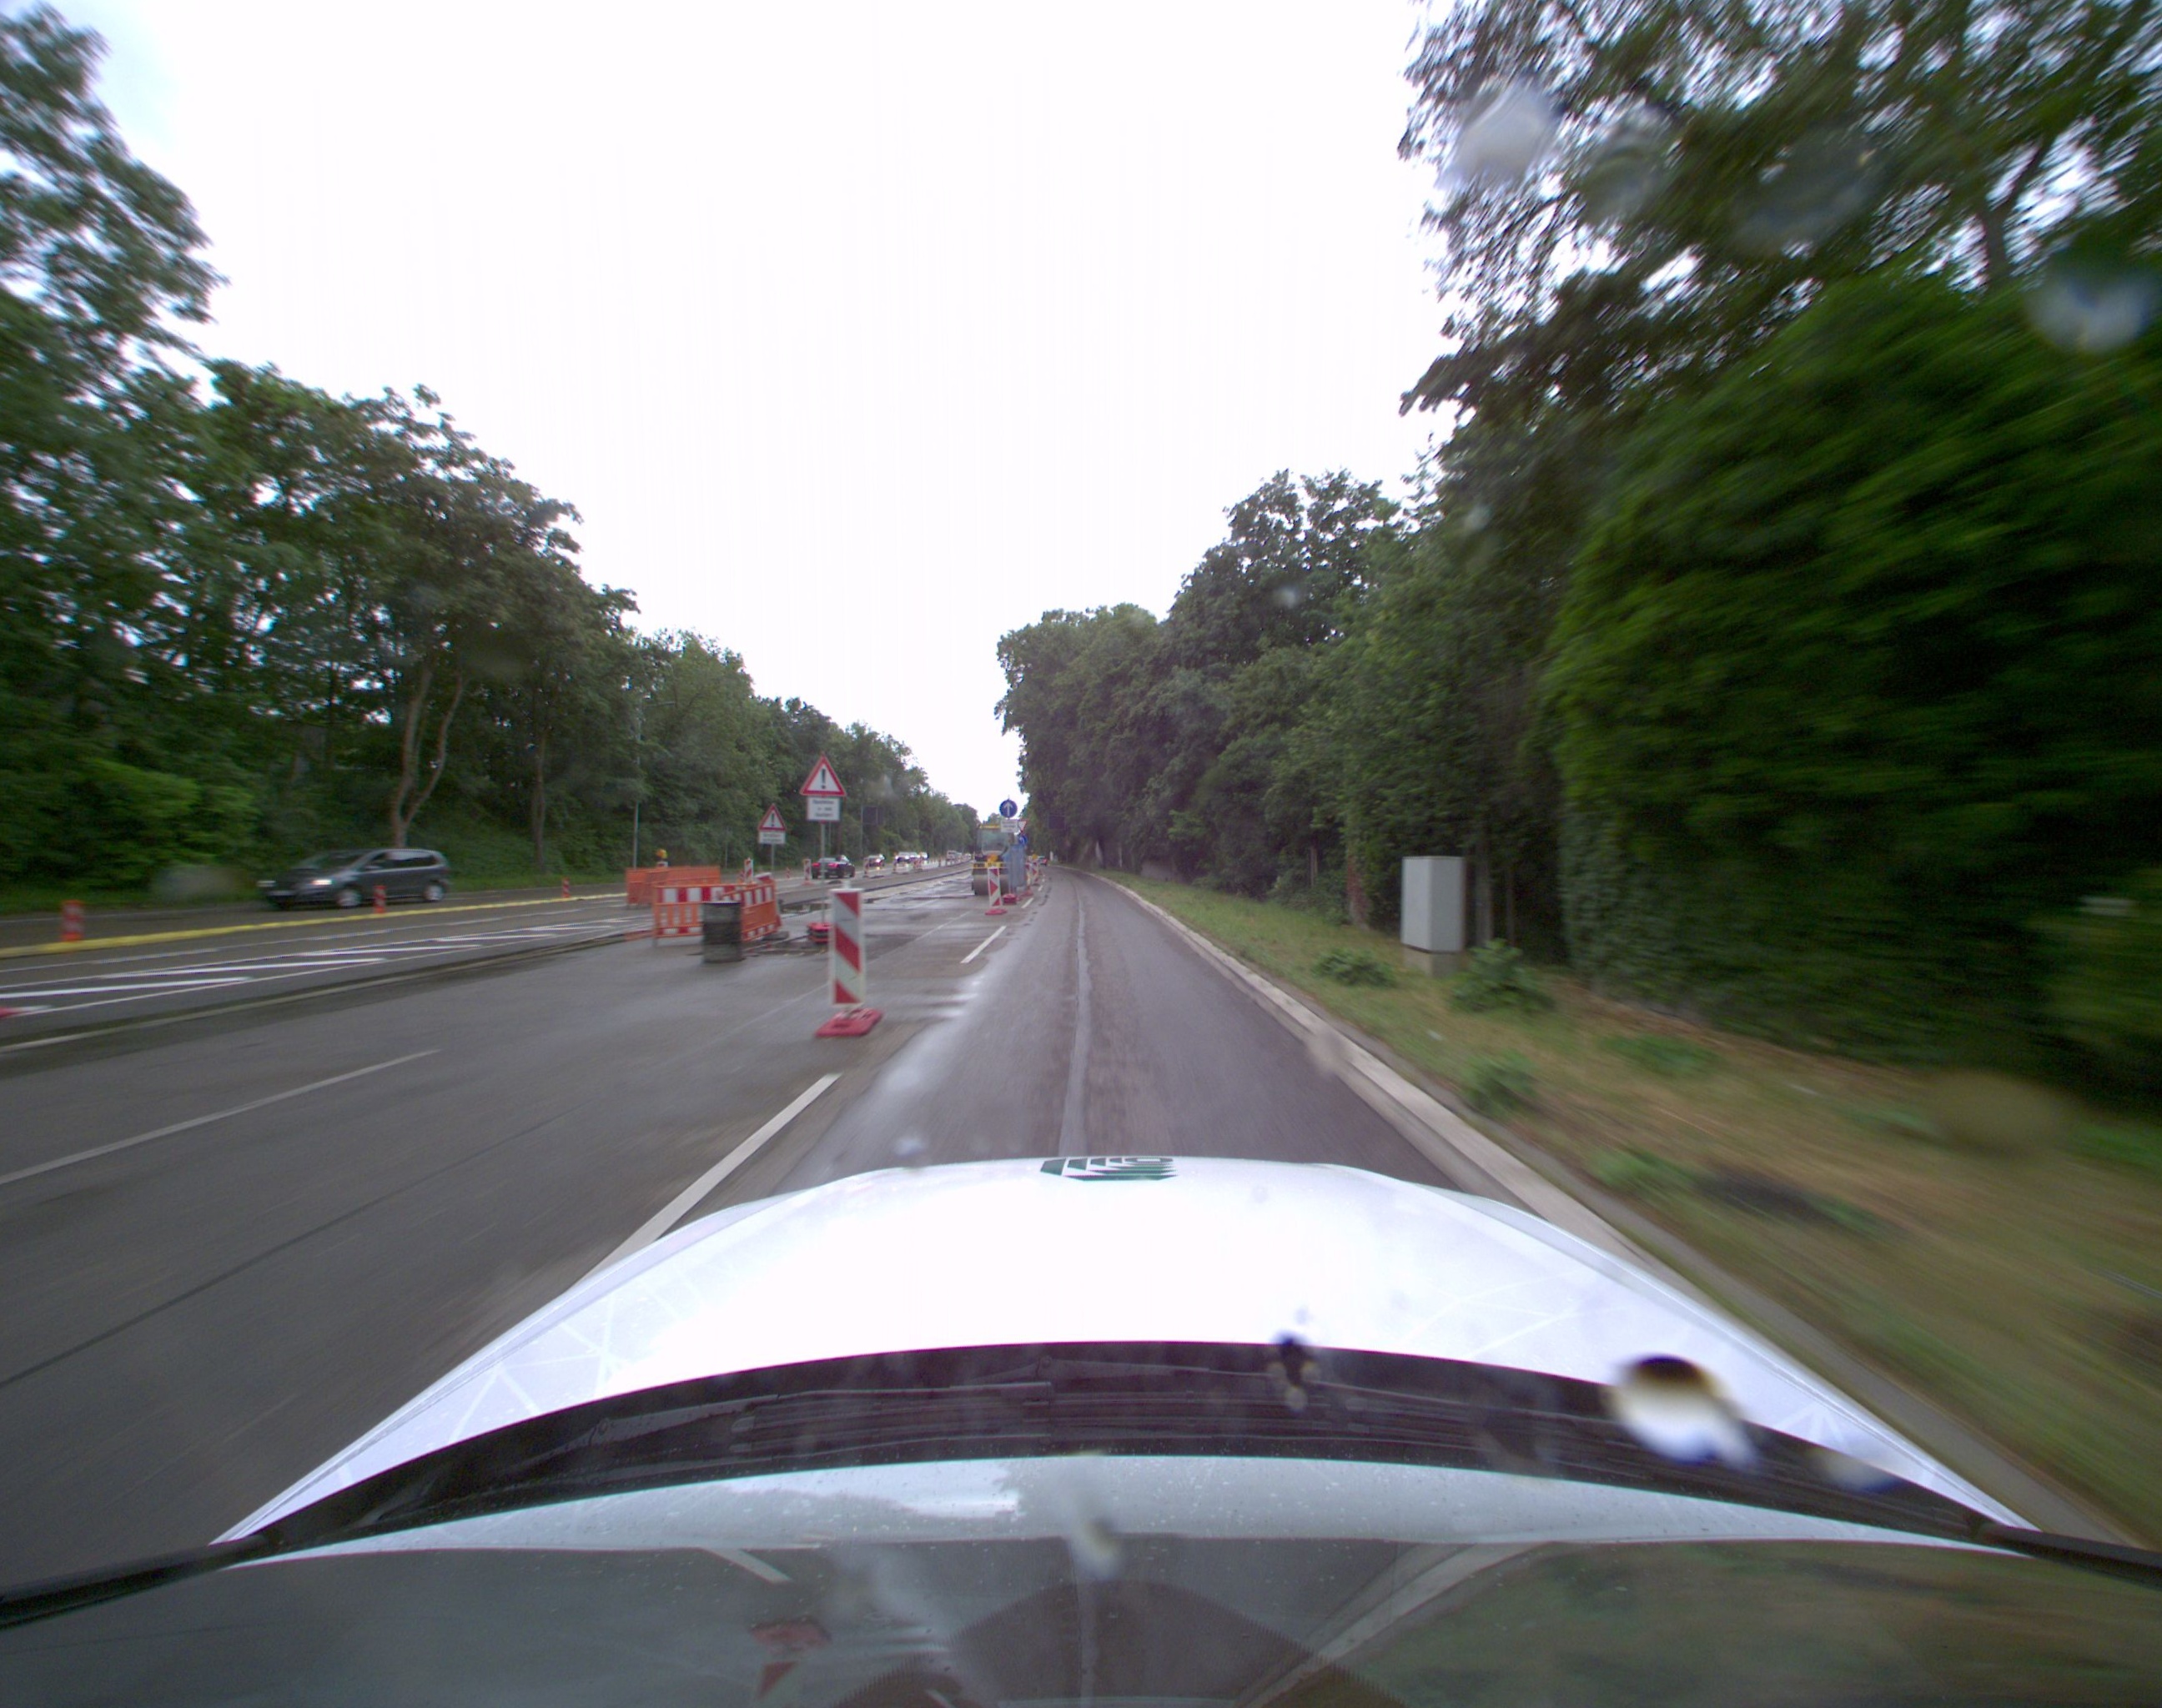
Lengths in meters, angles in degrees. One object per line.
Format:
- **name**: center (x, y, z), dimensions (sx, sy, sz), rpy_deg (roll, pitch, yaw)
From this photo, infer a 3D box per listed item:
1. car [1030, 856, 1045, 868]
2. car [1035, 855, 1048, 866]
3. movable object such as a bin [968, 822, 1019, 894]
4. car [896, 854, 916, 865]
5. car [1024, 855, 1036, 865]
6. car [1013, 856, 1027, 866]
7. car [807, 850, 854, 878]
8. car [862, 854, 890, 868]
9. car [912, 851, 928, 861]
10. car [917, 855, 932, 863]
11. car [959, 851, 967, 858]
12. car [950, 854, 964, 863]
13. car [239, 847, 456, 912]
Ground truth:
- **car**: center (-5.478, 1.032, 102.052), dimensions (1.753, 1.344, 3.995), rpy_deg (1, 1, -4)
- **car**: center (-6.216, 1.049, 127.504), dimensions (1.910, 1.598, 4.826), rpy_deg (1, 1, -4)
- **movable object such as a bin**: center (-3.611, 0.155, 34.111), dimensions (1.741, 2.867, 3.533), rpy_deg (-1, 0, 0)
- **car**: center (-26.562, 0.777, 123.900), dimensions (1.920, 1.665, 4.654), rpy_deg (0, 0, 1)
- **car**: center (-7.500, 0.842, 119.950), dimensions (1.753, 1.344, 3.995), rpy_deg (1, 1, -4)
- **car**: center (-10.539, 1.200, 141.090), dimensions (1.868, 1.618, 4.001), rpy_deg (3, 1, 1)
- **car**: center (-15.515, 0.610, 50.664), dimensions (1.858, 1.491, 3.996), rpy_deg (1, 2, -3)
- **car**: center (-24.363, 0.813, 96.928), dimensions (1.920, 1.665, 4.654), rpy_deg (0, 0, 1)
- **car**: center (-27.142, 0.306, 137.608), dimensions (1.923, 1.665, 4.647), rpy_deg (0, 0, -3)
- **car**: center (-31.250, 0.958, 162.511), dimensions (1.920, 1.665, 4.654), rpy_deg (0, 0, 1)
- **car**: center (-26.929, 0.216, 185.960), dimensions (1.566, 1.457, 3.366), rpy_deg (3, 1, -12)
- **car**: center (-24.056, 0.912, 157.860), dimensions (1.920, 1.778, 4.654), rpy_deg (0, 0, 1)
- **car**: center (-20.721, 0.658, 23.355), dimensions (1.920, 1.665, 4.654), rpy_deg (0, 0, 1)
